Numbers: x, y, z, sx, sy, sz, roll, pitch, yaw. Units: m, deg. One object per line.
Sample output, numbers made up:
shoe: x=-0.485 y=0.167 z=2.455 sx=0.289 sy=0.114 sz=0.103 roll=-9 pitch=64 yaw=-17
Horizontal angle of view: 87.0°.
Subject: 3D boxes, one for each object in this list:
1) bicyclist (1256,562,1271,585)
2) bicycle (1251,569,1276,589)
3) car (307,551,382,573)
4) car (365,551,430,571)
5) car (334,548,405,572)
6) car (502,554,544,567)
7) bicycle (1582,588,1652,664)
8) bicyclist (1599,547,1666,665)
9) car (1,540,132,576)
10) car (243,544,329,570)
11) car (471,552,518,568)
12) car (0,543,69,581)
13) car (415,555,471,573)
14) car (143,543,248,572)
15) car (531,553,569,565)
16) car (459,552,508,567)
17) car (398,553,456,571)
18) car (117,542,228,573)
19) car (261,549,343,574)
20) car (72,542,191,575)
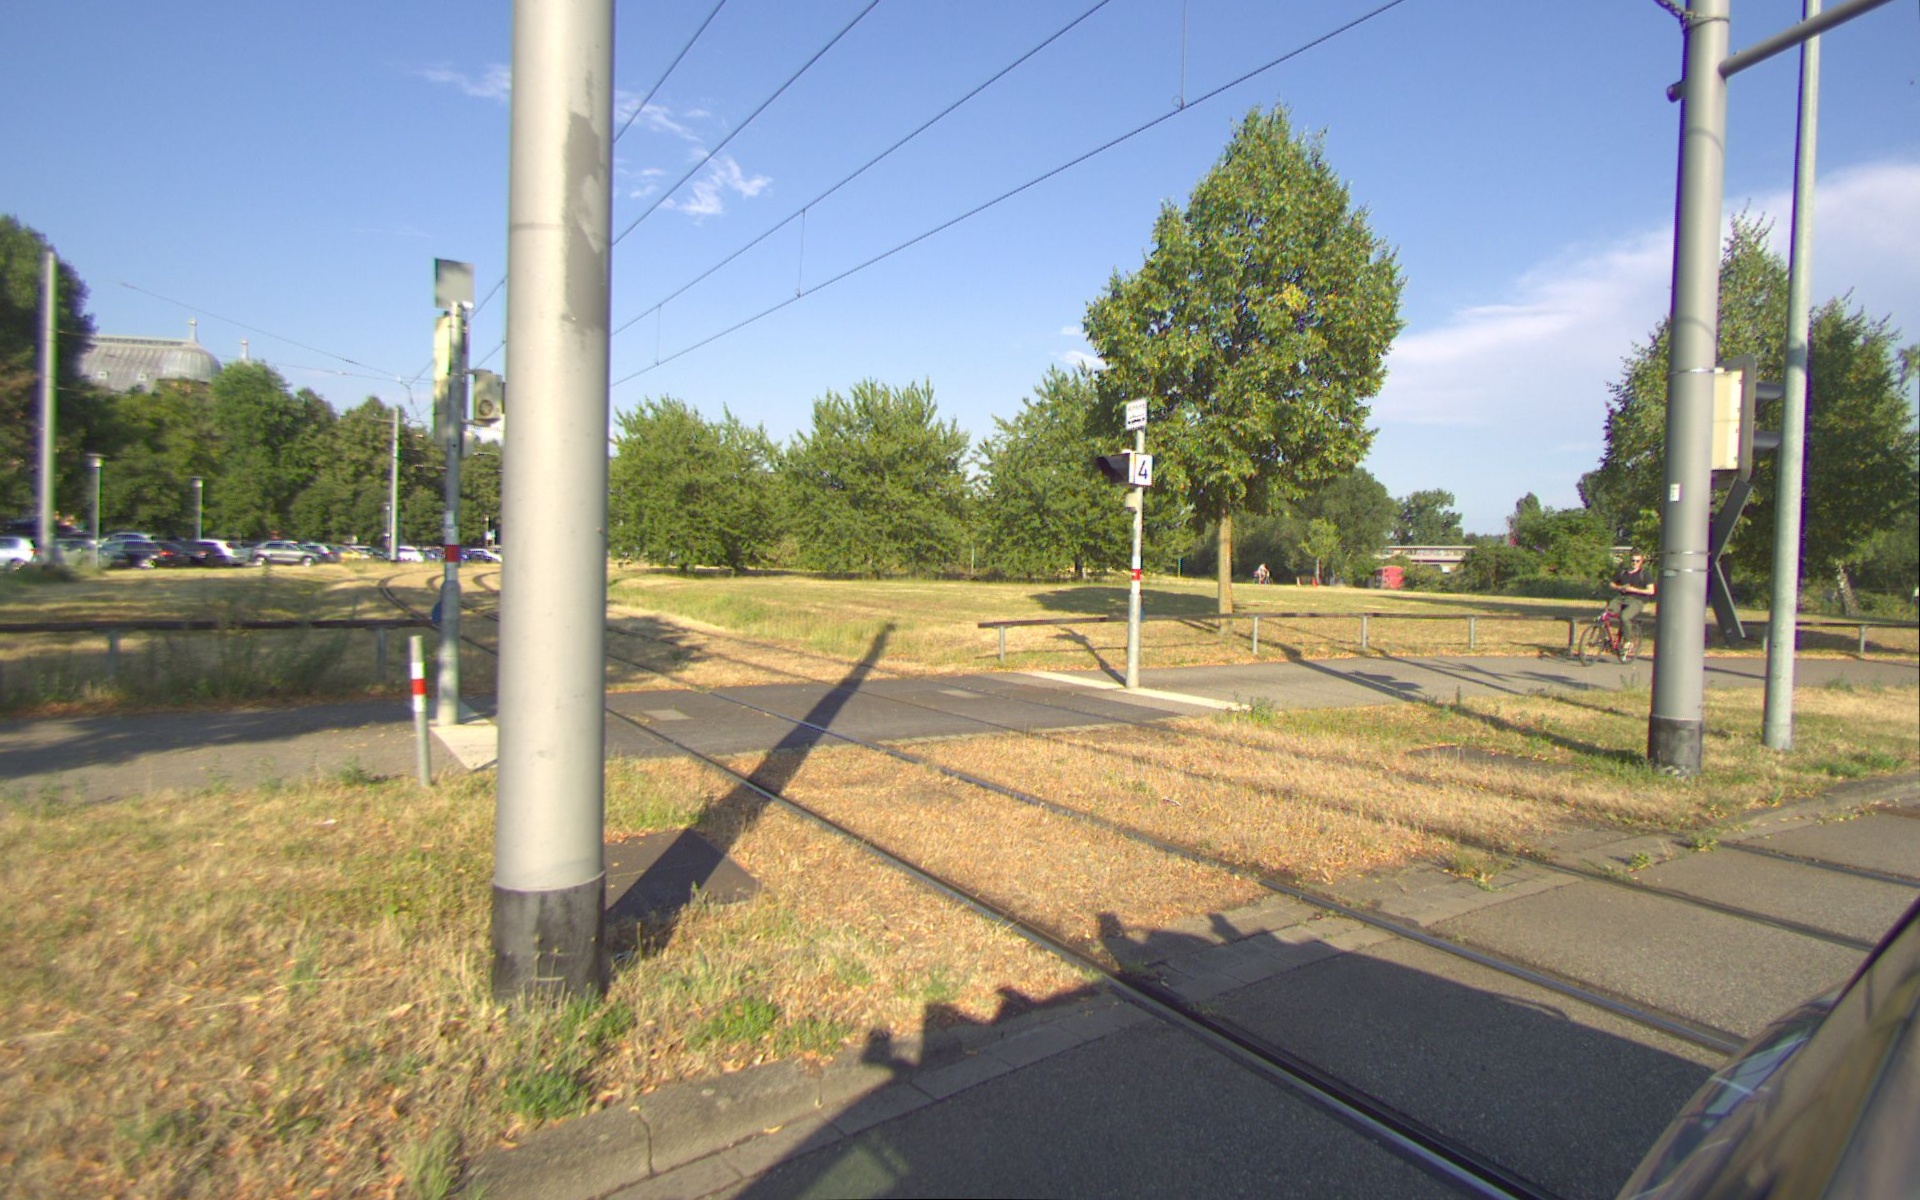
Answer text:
bicyclist: x=23.562 y=-2.043 z=78.485 sx=0.626 sy=1.802 sz=0.927 roll=1 pitch=0 yaw=-40
bicycle: x=23.540 y=-1.618 z=78.486 sx=0.386 sy=1.468 sz=1.941 roll=1 pitch=0 yaw=-40
car: x=-41.789 y=-2.600 z=68.781 sx=3.918 sy=1.420 sz=1.831 roll=1 pitch=2 yaw=-9
car: x=-42.561 y=-2.964 z=76.622 sx=3.918 sy=1.420 sz=1.831 roll=1 pitch=2 yaw=-9
car: x=-41.786 y=-2.820 z=71.656 sx=3.918 sy=1.588 sz=1.831 roll=1 pitch=2 yaw=-9
car: x=-48.343 y=-4.368 z=111.892 sx=3.918 sy=1.420 sz=1.831 roll=1 pitch=2 yaw=-9
bicycle: x=10.788 y=0.401 z=16.596 sx=1.858 sy=1.172 sz=0.416 roll=-1 pitch=3 yaw=-41
bicyclist: x=10.967 y=0.081 z=16.505 sx=0.815 sy=1.851 sz=0.620 roll=0 pitch=4 yaw=-40
car: x=-38.704 y=-1.815 z=43.915 sx=3.918 sy=1.420 sz=1.831 roll=1 pitch=2 yaw=-9
car: x=-40.508 y=-2.585 z=60.883 sx=3.918 sy=1.420 sz=1.831 roll=1 pitch=2 yaw=-9
car: x=-46.768 y=-4.017 z=101.690 sx=3.918 sy=1.420 sz=1.831 roll=1 pitch=2 yaw=-9
car: x=-37.526 y=-1.513 z=39.399 sx=3.918 sy=1.420 sz=1.831 roll=1 pitch=2 yaw=-9
car: x=-44.751 y=-3.127 z=87.644 sx=3.918 sy=1.420 sz=1.831 roll=1 pitch=2 yaw=-9
car: x=-39.473 y=-2.202 z=52.342 sx=3.918 sy=1.420 sz=1.831 roll=1 pitch=2 yaw=-9
car: x=-49.622 y=-4.951 z=122.607 sx=3.918 sy=1.420 sz=1.831 roll=1 pitch=2 yaw=-9
car: x=-46.264 y=-3.948 z=98.312 sx=3.918 sy=1.420 sz=1.831 roll=1 pitch=2 yaw=-9
car: x=-44.508 y=-3.155 z=84.619 sx=3.918 sy=1.420 sz=1.831 roll=1 pitch=2 yaw=-9
car: x=-38.618 y=-2.082 z=49.691 sx=3.918 sy=1.420 sz=1.831 roll=1 pitch=2 yaw=-9
car: x=-41.080 y=-2.409 z=63.273 sx=3.918 sy=1.420 sz=1.831 roll=1 pitch=2 yaw=-9
car: x=-38.366 y=-1.917 z=46.956 sx=3.918 sy=1.420 sz=1.831 roll=1 pitch=2 yaw=-9
